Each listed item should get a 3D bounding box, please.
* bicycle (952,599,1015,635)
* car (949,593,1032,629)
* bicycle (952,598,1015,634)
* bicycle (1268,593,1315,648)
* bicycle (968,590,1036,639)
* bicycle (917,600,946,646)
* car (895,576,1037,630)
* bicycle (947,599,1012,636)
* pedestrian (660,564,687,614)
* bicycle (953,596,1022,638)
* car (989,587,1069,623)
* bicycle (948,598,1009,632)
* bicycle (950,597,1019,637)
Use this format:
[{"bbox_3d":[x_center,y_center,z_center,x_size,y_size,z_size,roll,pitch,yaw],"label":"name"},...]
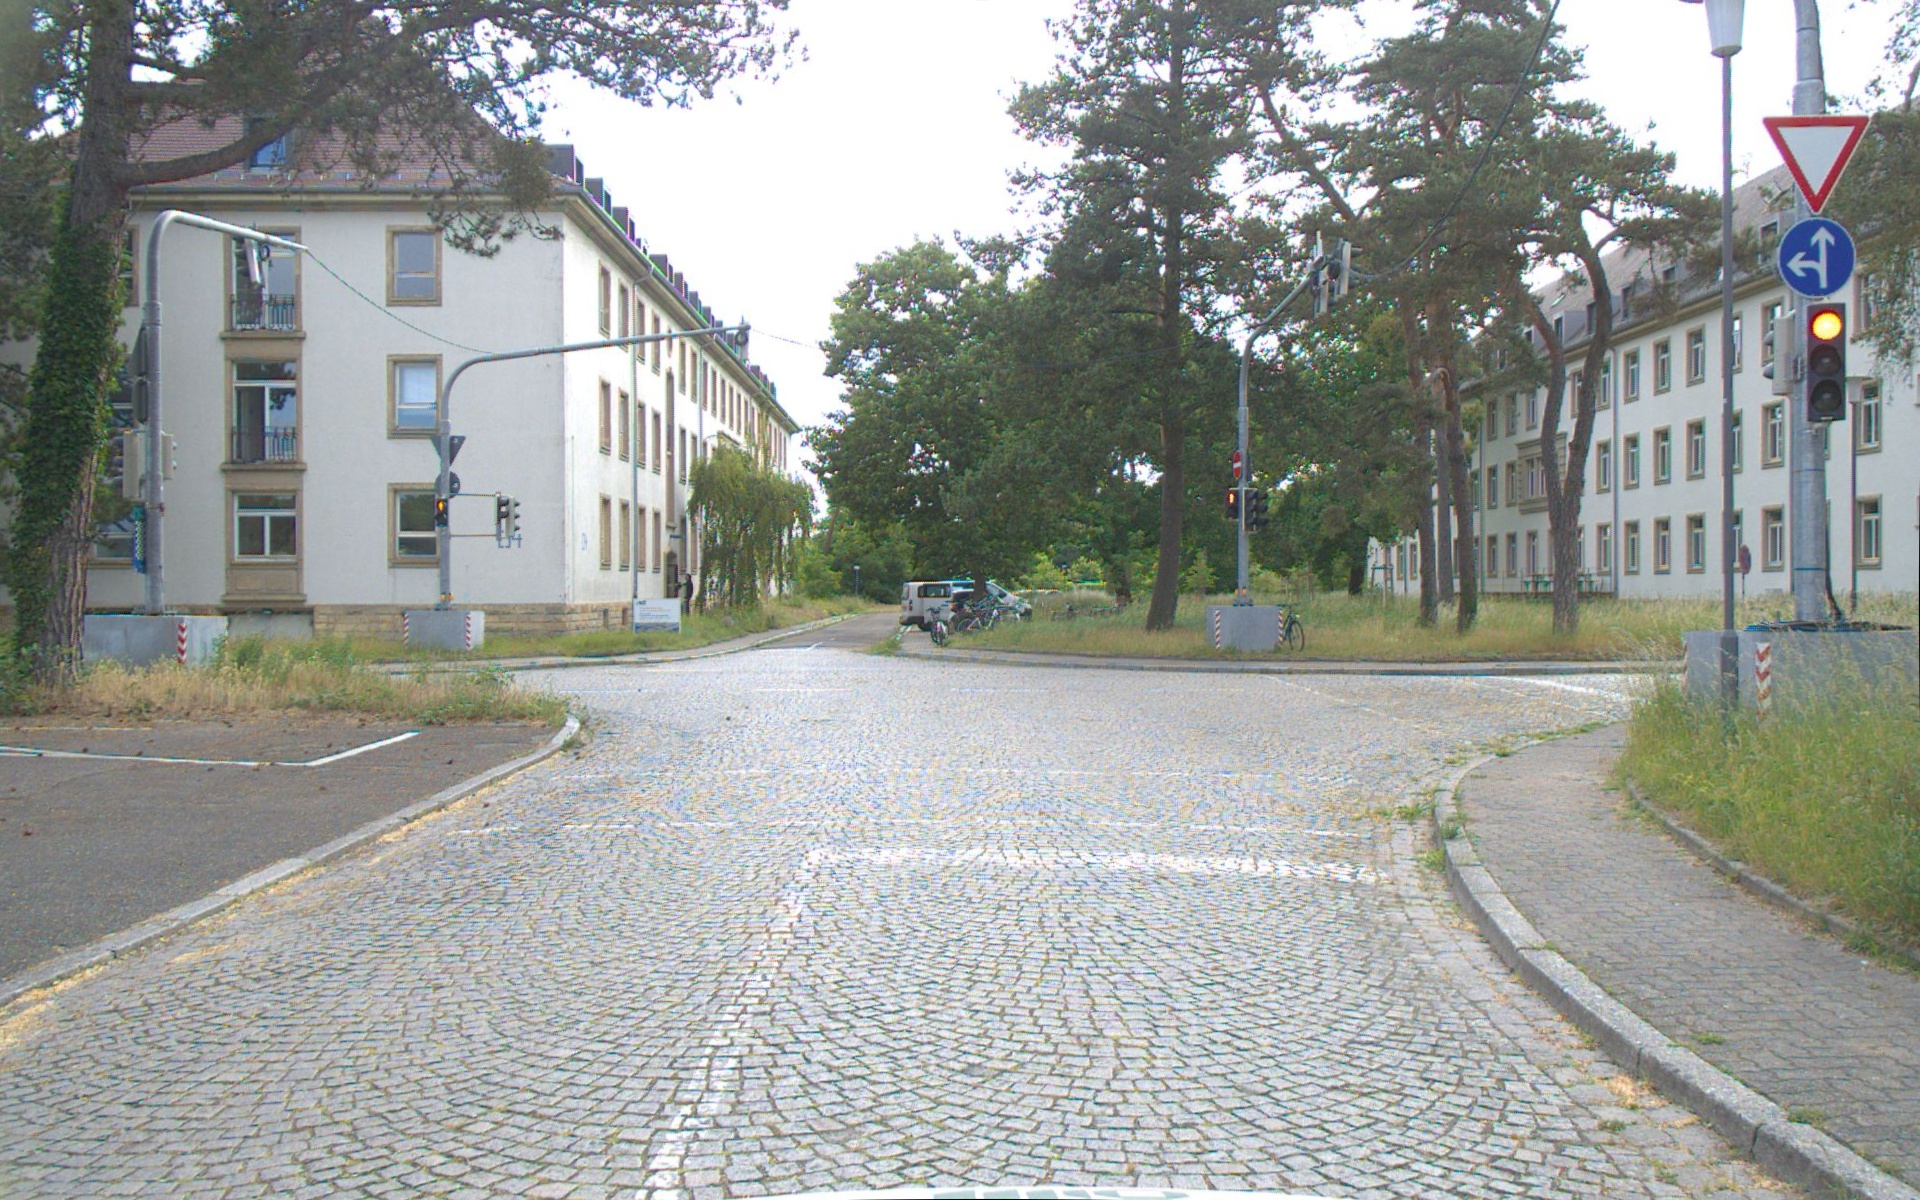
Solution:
[{"bbox_3d":[0.721,0.509,50.402,1.935,1.088,0.582,0,0,-31],"label":"bicycle"},{"bbox_3d":[1.121,0.408,61.661,2.948,1.290,1.533,0,0,-7],"label":"car"},{"bbox_3d":[0.731,0.488,51.756,1.930,1.088,0.583,0,0,-26],"label":"bicycle"},{"bbox_3d":[6.976,0.409,34.912,0.574,1.125,1.961,0,0,-1],"label":"bicycle"},{"bbox_3d":[1.228,0.411,48.406,1.918,1.408,0.587,0,0,-8],"label":"bicycle"},{"bbox_3d":[-0.766,0.593,43.718,0.591,1.152,1.959,0,0,-6],"label":"bicycle"},{"bbox_3d":[0.215,0.110,65.012,5.263,1.958,2.020,-1,0,-10],"label":"car"},{"bbox_3d":[0.586,0.513,49.050,1.935,1.088,0.582,0,0,-31],"label":"bicycle"},{"bbox_3d":[-10.833,-0.410,62.510,0.766,1.869,0.733,0,0,-32],"label":"pedestrian"},{"bbox_3d":[0.776,0.476,46.936,1.918,1.152,0.587,0,0,-8],"label":"bicycle"},{"bbox_3d":[2.851,0.208,68.930,3.168,1.441,1.724,0,0,-3],"label":"car"},{"bbox_3d":[0.602,0.477,54.086,1.930,1.088,0.583,0,0,-26],"label":"bicycle"},{"bbox_3d":[0.707,0.497,47.568,1.918,1.136,0.587,0,0,-8],"label":"bicycle"}]
